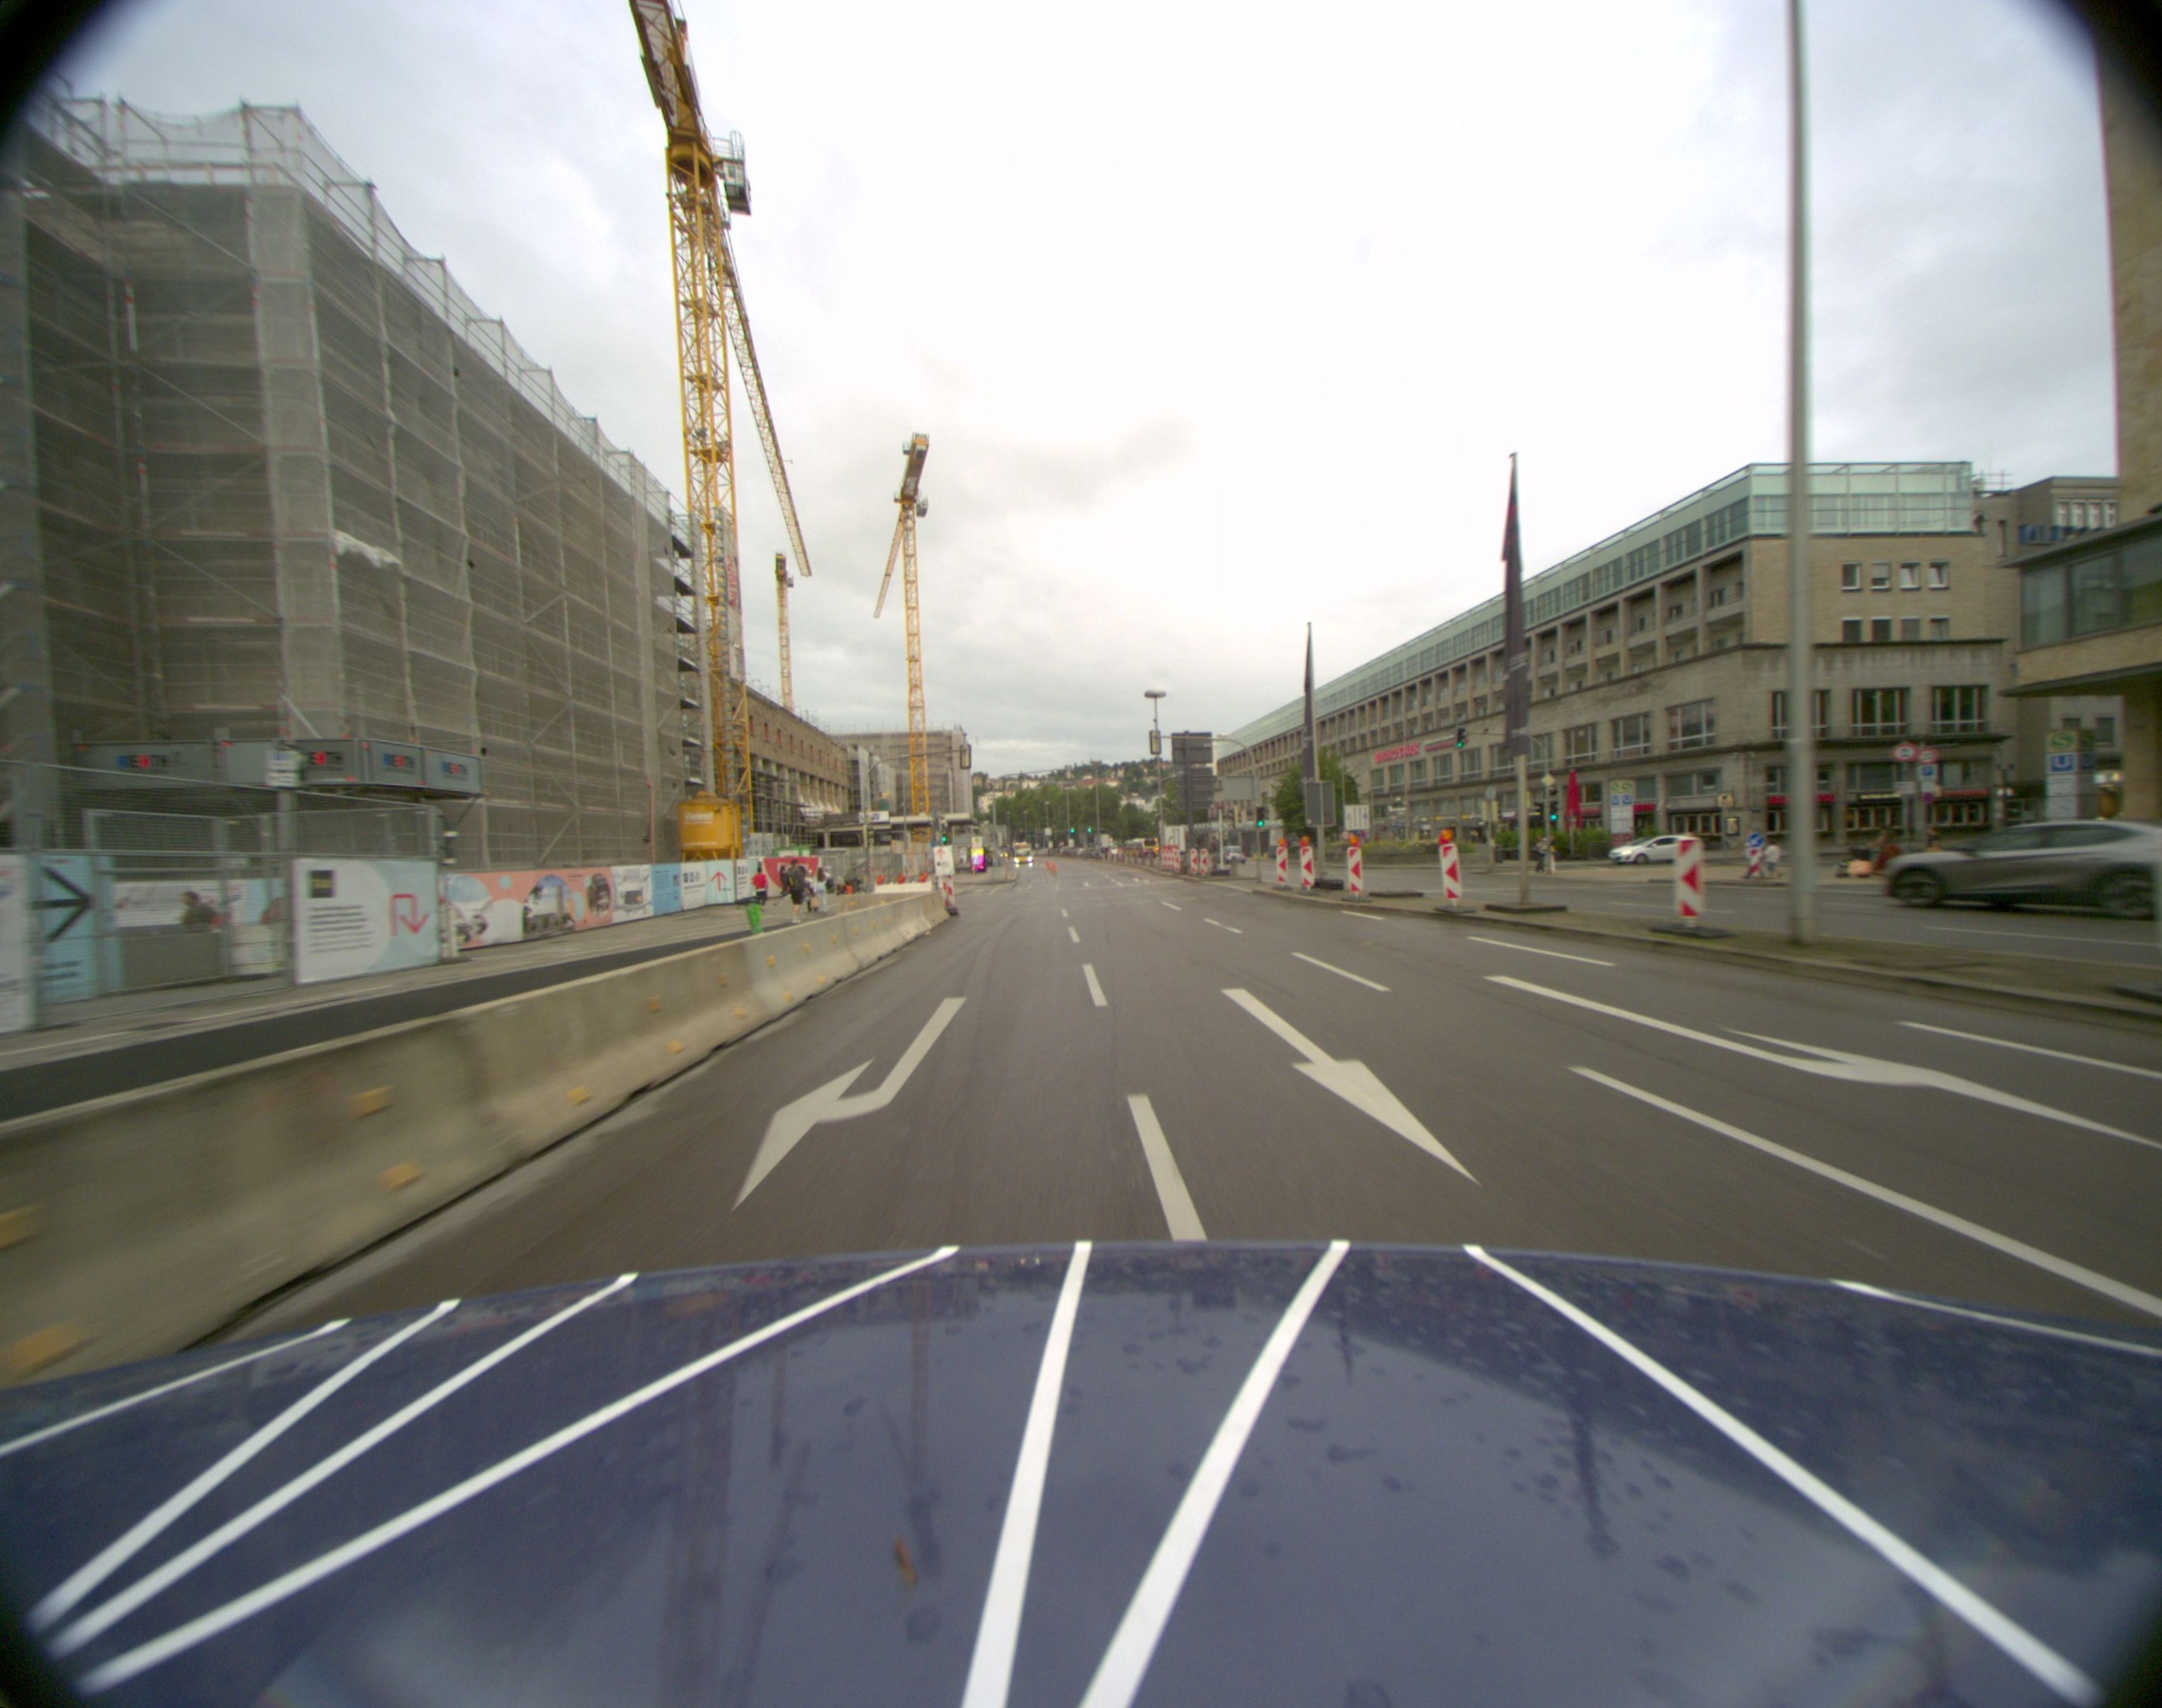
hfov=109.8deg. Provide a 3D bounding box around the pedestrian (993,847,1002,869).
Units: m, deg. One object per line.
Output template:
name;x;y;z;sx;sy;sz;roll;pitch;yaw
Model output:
pedestrian;-7.787;0.330;70.690;0.735;2.002;0.645;-2;1;-9

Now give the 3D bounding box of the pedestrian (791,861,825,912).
pedestrian;-9.635;1.140;26.868;0.815;1.745;0.881;-2;1;1

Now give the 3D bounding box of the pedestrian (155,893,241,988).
pedestrian;-17.289;1.670;14.897;0.815;1.745;0.649;-2;1;-5

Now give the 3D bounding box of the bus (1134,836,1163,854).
bus;11.502;-1.558;130.356;2.910;2.923;9.816;-2;1;-6

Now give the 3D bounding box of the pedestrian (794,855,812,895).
pedestrian;-14.146;1.053;38.704;0.629;2.002;0.577;-3;1;-36

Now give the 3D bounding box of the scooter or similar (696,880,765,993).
scooter or similar;-4.515;1.029;9.852;0.526;1.326;1.024;-2;1;-11

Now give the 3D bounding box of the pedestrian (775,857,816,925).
pedestrian;-8.626;1.109;22.986;0.788;2.000;0.866;-2;1;6

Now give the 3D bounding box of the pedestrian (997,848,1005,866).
pedestrian;-8.206;0.342;77.905;0.646;1.813;0.735;-2;1;0

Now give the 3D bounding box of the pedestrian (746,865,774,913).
pedestrian;-11.910;1.304;28.221;0.743;1.717;0.714;-2;1;-8

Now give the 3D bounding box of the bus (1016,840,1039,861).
bus;-8.221;-0.528;116.157;3.000;3.120;7.760;-2;1;-6

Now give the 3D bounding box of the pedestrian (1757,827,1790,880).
pedestrian;21.585;-0.010;23.676;0.451;1.609;0.526;-6;2;-15

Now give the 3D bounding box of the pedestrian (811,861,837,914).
pedestrian;-8.930;1.140;26.398;0.806;1.746;0.814;0;3;-21

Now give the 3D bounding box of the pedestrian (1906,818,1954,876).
pedestrian;24.713;-0.203;22.126;0.564;1.659;0.752;-2;1;-6

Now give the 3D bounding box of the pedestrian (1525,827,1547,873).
pedestrian;19.378;-0.161;32.379;0.715;1.914;0.592;-1;1;37

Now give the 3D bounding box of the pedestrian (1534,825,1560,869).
pedestrian;21.890;-0.330;35.699;0.705;2.002;0.807;-2;1;-3

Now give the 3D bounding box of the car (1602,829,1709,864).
car;29.600;-0.402;39.231;4.090;1.630;1.806;-2;1;1

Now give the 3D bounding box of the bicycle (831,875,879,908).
bicycle;-8.628;1.420;29.102;0.755;1.127;1.994;-2;1;16

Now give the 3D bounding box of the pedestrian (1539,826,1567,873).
pedestrian;19.512;-0.175;31.420;0.591;1.914;0.751;-2;1;-4

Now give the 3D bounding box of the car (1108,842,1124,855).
car;5.857;-0.937;127.110;2.038;1.962;3.998;-2;1;-4

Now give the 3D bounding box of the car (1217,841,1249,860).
car;13.526;-0.354;67.979;1.759;1.612;3.998;-2;1;-4

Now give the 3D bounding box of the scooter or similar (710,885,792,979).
scooter or similar;-5.036;1.164;11.647;0.492;1.326;1.027;-2;1;24

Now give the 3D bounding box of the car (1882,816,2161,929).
car;16.682;0.248;12.693;1.779;1.659;4.498;-1;1;-2

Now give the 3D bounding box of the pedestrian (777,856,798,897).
pedestrian;-14.374;1.104;37.216;0.640;2.002;0.629;-2;1;21

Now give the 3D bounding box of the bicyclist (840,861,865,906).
bicyclist;-8.688;1.124;28.916;0.696;1.695;0.434;-2;1;15

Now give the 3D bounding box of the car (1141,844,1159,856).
car;9.719;-0.597;107.319;1.887;1.674;3.997;-2;1;-6

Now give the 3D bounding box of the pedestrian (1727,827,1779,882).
pedestrian;20.825;0.013;23.554;0.839;1.609;0.788;-6;2;-14

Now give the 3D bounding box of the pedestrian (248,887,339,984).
pedestrian;-15.863;1.611;15.325;1.003;1.838;0.675;-2;1;-7

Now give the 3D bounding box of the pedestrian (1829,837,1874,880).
pedestrian;23.557;0.128;23.239;0.564;1.284;0.752;-2;1;-6

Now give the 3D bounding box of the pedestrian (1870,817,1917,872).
pedestrian;24.011;-0.277;22.454;0.666;1.583;0.680;-2;1;-9
